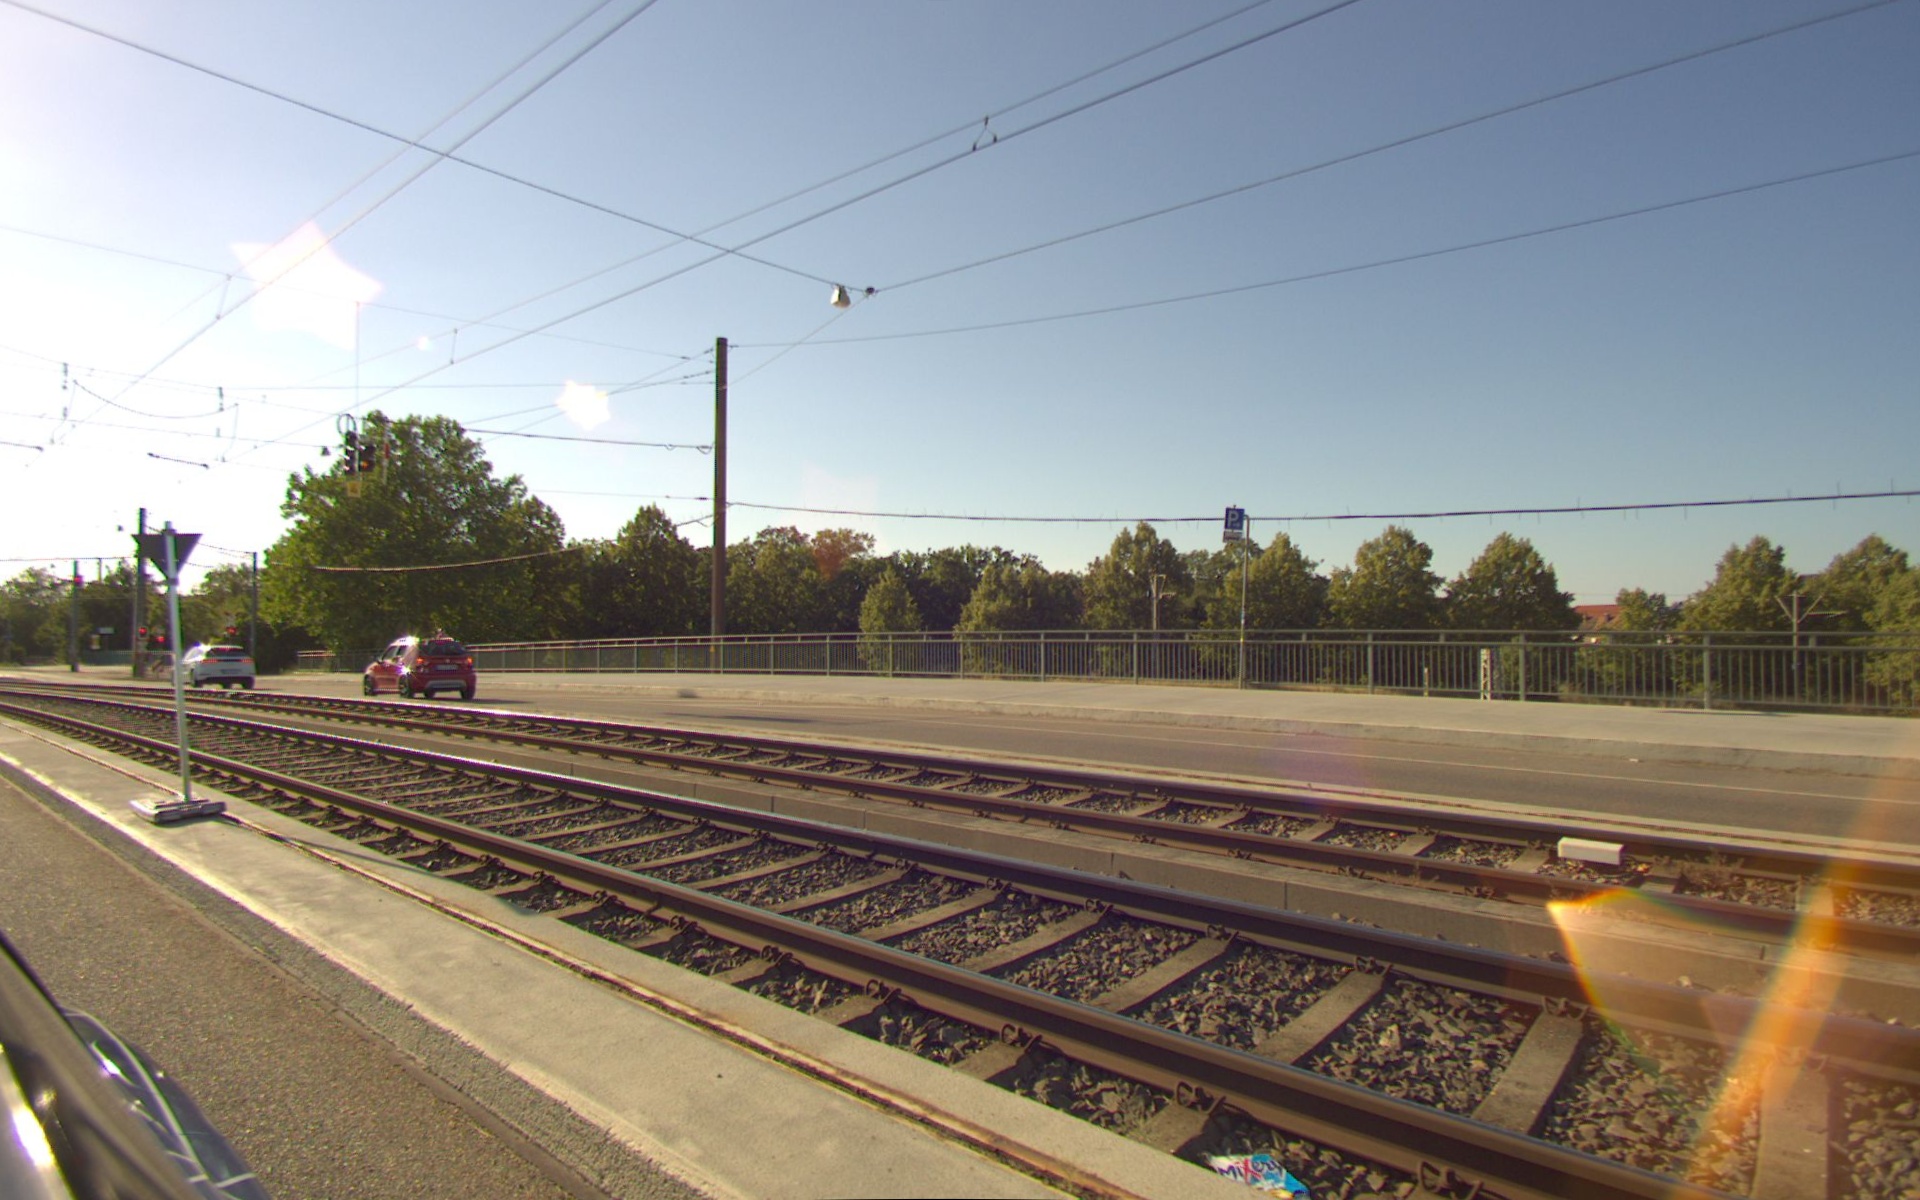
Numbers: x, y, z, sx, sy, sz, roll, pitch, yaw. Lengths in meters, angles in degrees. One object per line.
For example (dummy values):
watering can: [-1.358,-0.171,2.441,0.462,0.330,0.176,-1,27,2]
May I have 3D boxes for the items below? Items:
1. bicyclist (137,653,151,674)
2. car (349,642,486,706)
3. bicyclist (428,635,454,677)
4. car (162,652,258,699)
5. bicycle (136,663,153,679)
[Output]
bicyclist: [-57.545,4.491,71.381,0.968,1.443,0.618,-3,-2,43]
car: [-14.071,1.908,26.183,3.997,1.531,1.789,-4,-5,41]
bicyclist: [-20.591,2.209,40.131,0.934,1.645,0.619,-3,-2,40]
car: [-29.533,2.921,39.799,5.087,1.649,1.980,-3,-2,41]
bicycle: [-57.562,5.000,71.390,2.259,1.131,0.618,-3,-2,43]
